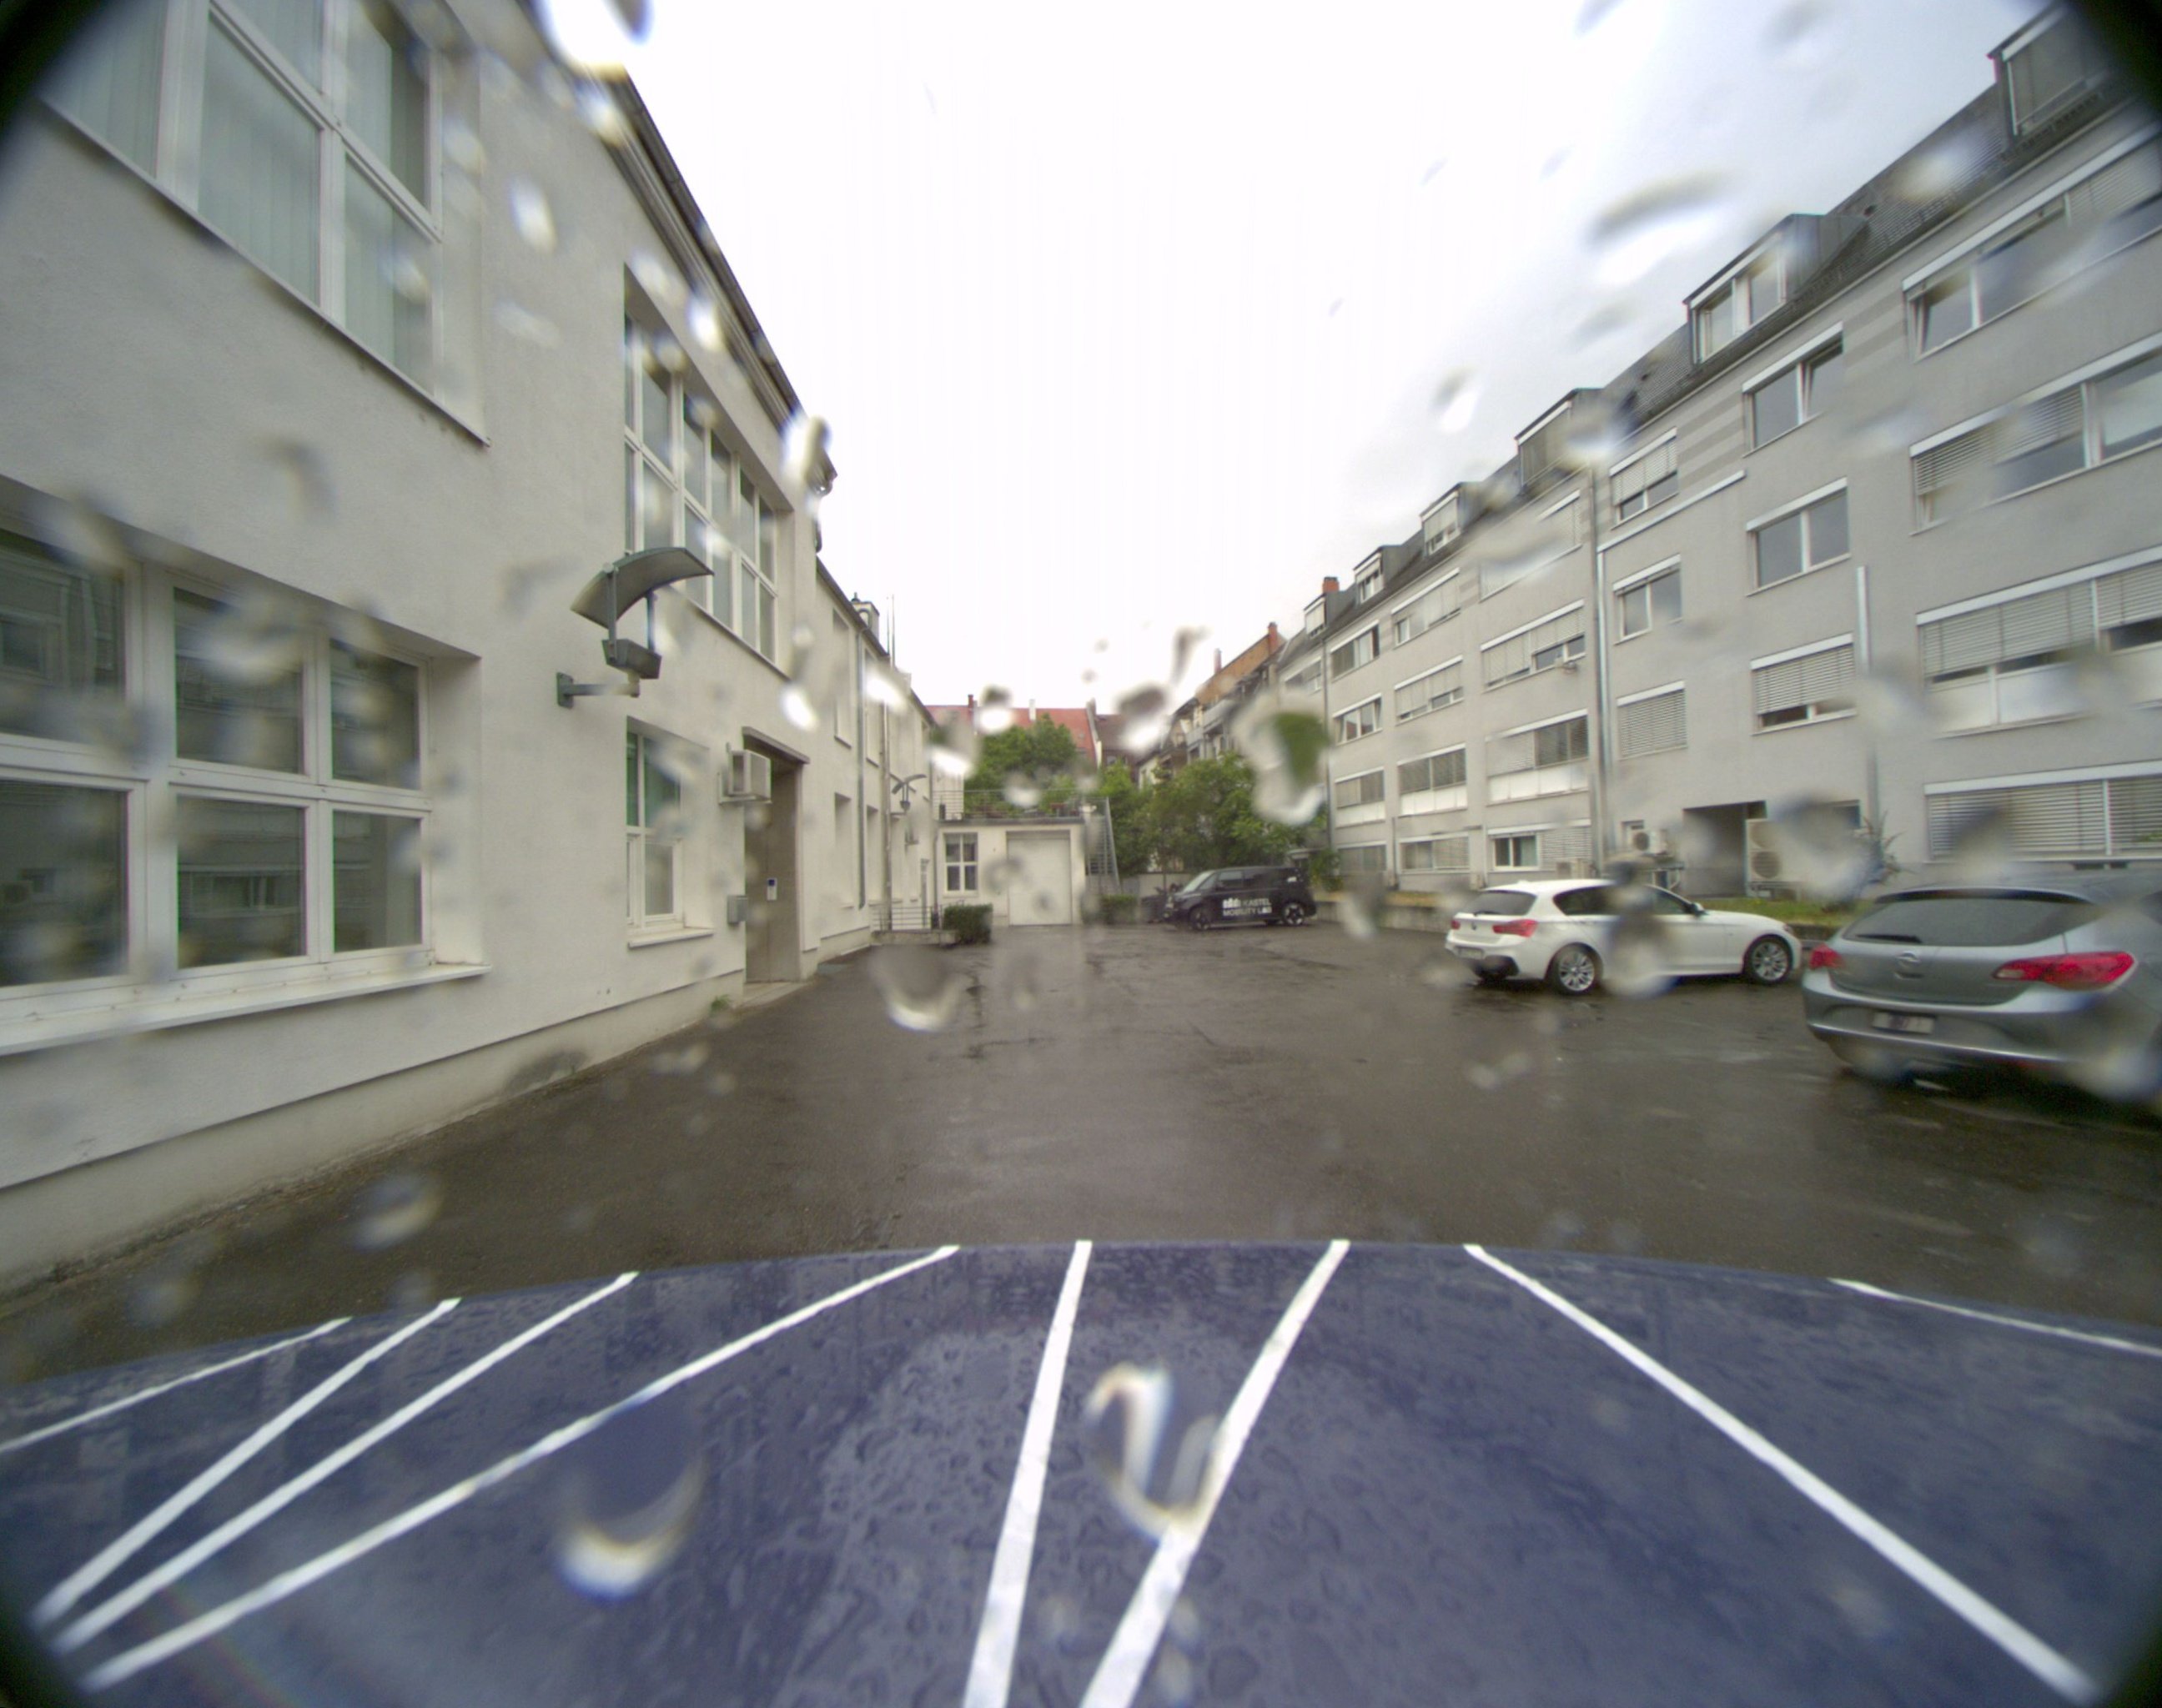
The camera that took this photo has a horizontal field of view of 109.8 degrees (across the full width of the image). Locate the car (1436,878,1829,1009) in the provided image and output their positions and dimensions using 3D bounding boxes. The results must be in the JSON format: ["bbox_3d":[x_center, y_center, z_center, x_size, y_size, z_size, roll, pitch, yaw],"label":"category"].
[{"bbox_3d":[7.243,1.109,10.203,4.152,1.425,1.752,-1,-1,-7],"label":"car"}]

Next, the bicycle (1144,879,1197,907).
[{"bbox_3d":[4.114,1.806,34.994,2.319,1.179,0.643,-2,1,-2],"label":"bicycle"}]

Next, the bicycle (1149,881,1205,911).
[{"bbox_3d":[4.195,1.825,33.195,2.319,1.179,0.643,-2,1,-2],"label":"bicycle"}]

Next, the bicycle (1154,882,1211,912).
[{"bbox_3d":[4.306,1.832,32.401,2.319,1.179,0.643,-2,1,-2],"label":"bicycle"}]

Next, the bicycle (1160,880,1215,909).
[{"bbox_3d":[4.722,1.801,33.880,2.319,1.179,0.643,-2,1,-2],"label":"bicycle"}]

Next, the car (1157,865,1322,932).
[{"bbox_3d":[4.931,1.381,23.969,4.631,1.825,1.987,-2,-2,-9],"label":"car"}]

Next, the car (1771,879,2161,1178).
[{"bbox_3d":[7.466,0.938,5.130,4.178,1.474,1.822,-1,-2,-7],"label":"car"}]

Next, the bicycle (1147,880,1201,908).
[{"bbox_3d":[4.187,1.811,34.364,2.319,1.179,0.643,-2,1,-2],"label":"bicycle"}]
